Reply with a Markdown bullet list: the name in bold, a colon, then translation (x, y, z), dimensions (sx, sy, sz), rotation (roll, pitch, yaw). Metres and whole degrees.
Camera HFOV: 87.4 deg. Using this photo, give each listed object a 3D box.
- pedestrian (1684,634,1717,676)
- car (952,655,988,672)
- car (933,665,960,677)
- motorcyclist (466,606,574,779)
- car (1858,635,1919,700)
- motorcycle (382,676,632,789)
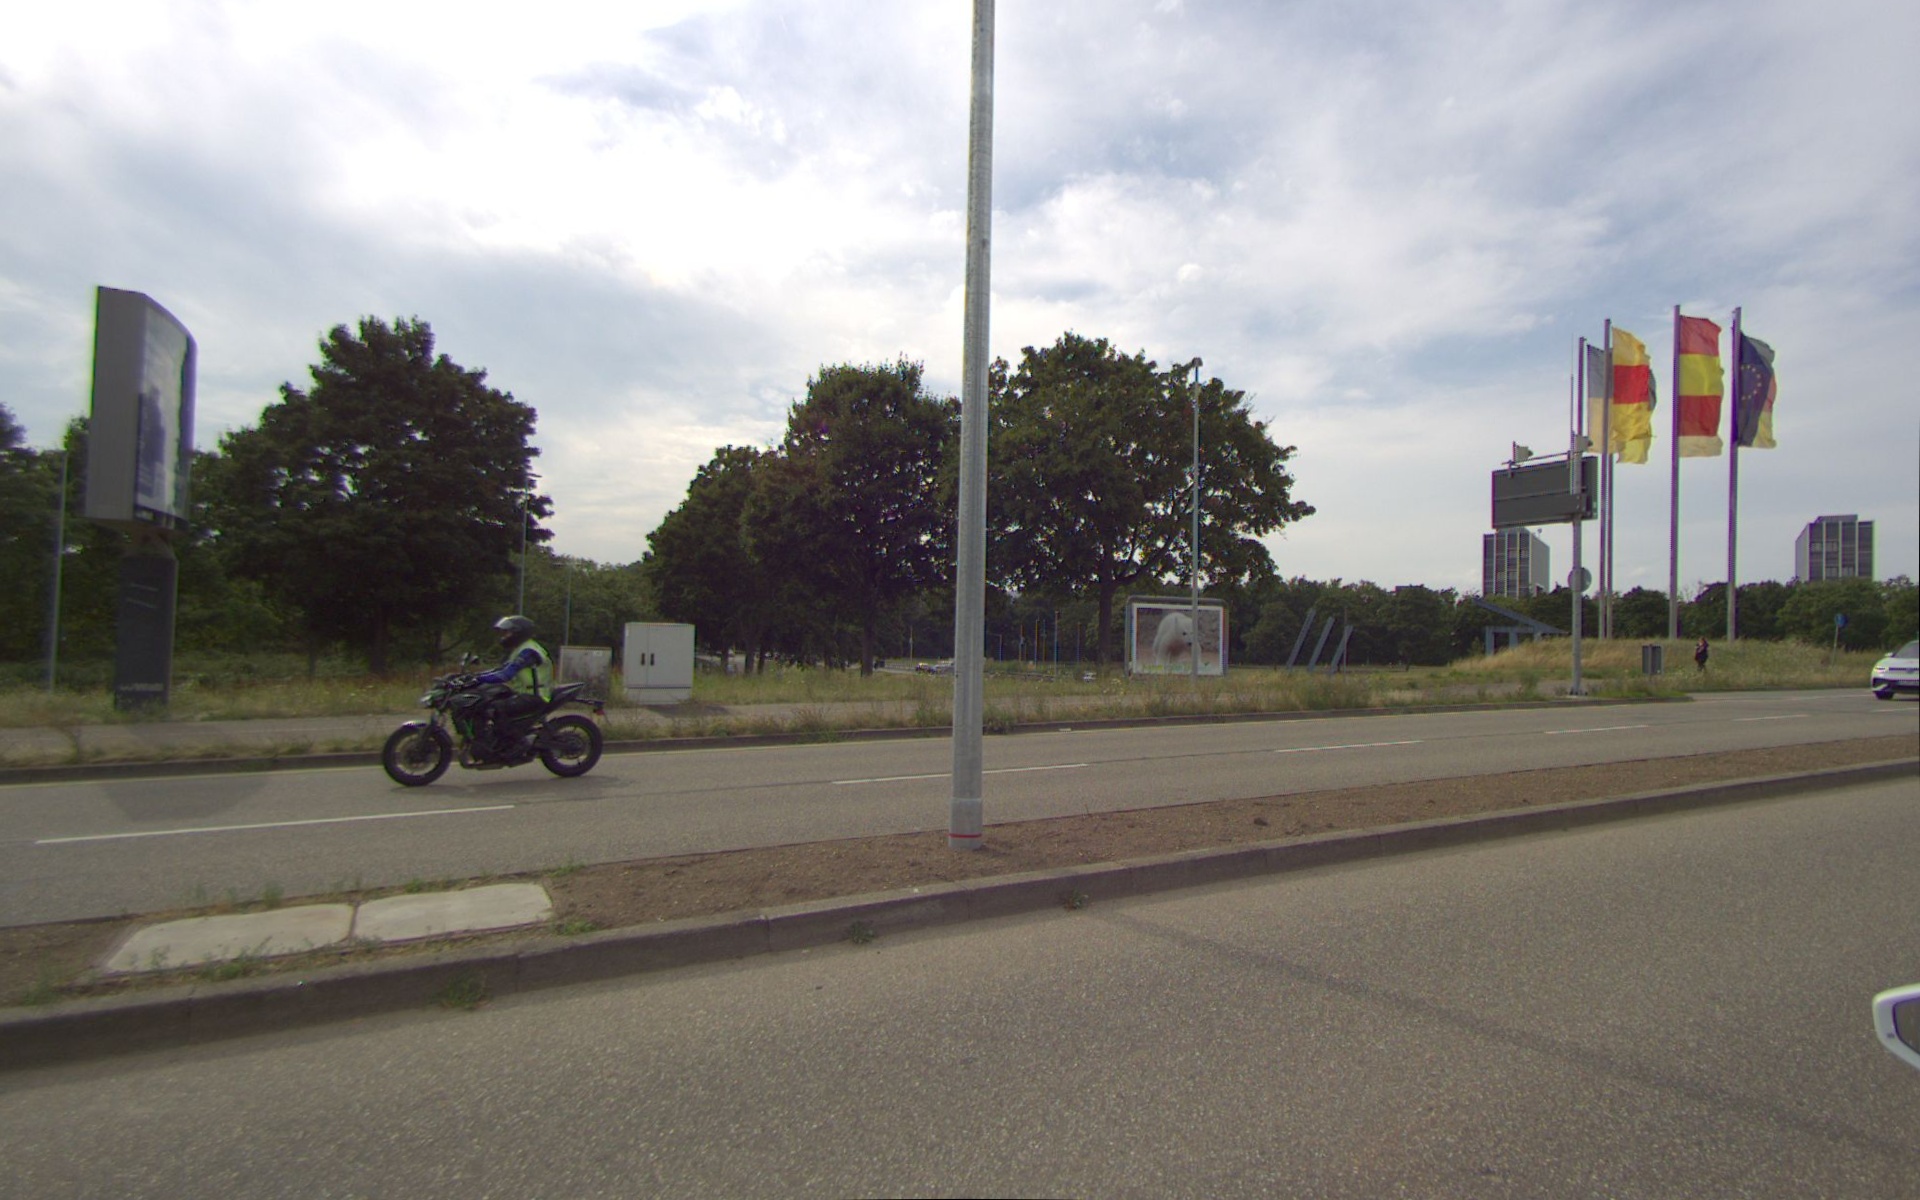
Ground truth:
- **pedestrian**: translation (30.916, 2.281, 41.942), dimensions (0.671, 1.715, 0.861), rotation (1, -3, -30)
- **car**: translation (1.488, 9.916, 157.485), dimensions (5.766, 2.410, 1.981), rotation (-1, -3, 41)
- **car**: translation (-2.135, 10.972, 154.896), dimensions (3.942, 1.773, 1.794), rotation (-2, -3, 41)
- **motorcyclist**: translation (-4.360, 0.886, 9.934), dimensions (0.885, 1.609, 0.766), rotation (1, -3, -30)
- **car**: translation (26.253, 1.766, 26.976), dimensions (4.506, 1.622, 1.839), rotation (1, -2, -30)
- **motorcycle**: translation (-4.413, 1.261, 9.887), dimensions (2.193, 0.979, 0.520), rotation (2, -2, -30)
